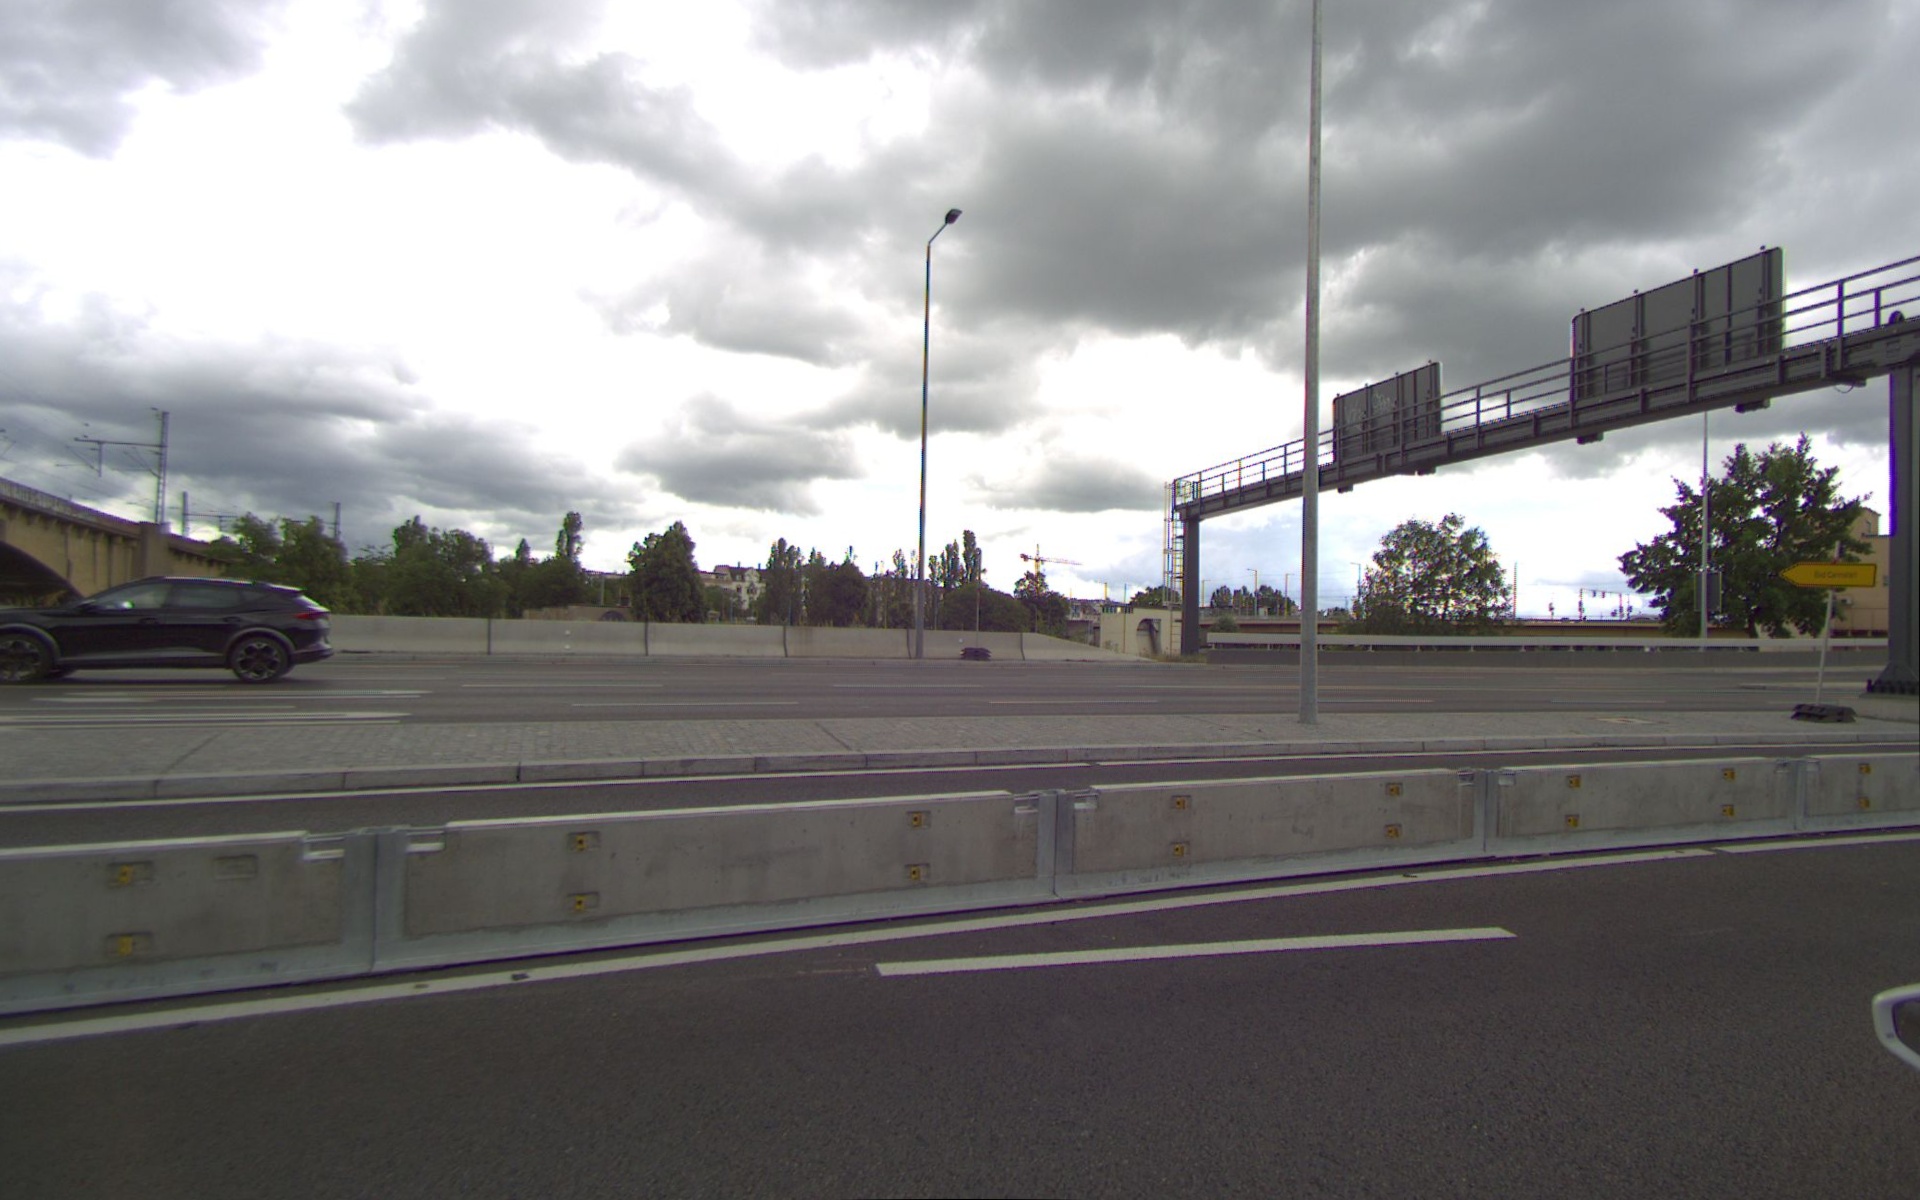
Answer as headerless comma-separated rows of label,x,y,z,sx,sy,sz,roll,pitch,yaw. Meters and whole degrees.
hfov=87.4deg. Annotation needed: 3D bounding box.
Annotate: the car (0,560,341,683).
car,-11.658,0.328,14.889,4.087,1.606,1.984,2,0,-29
